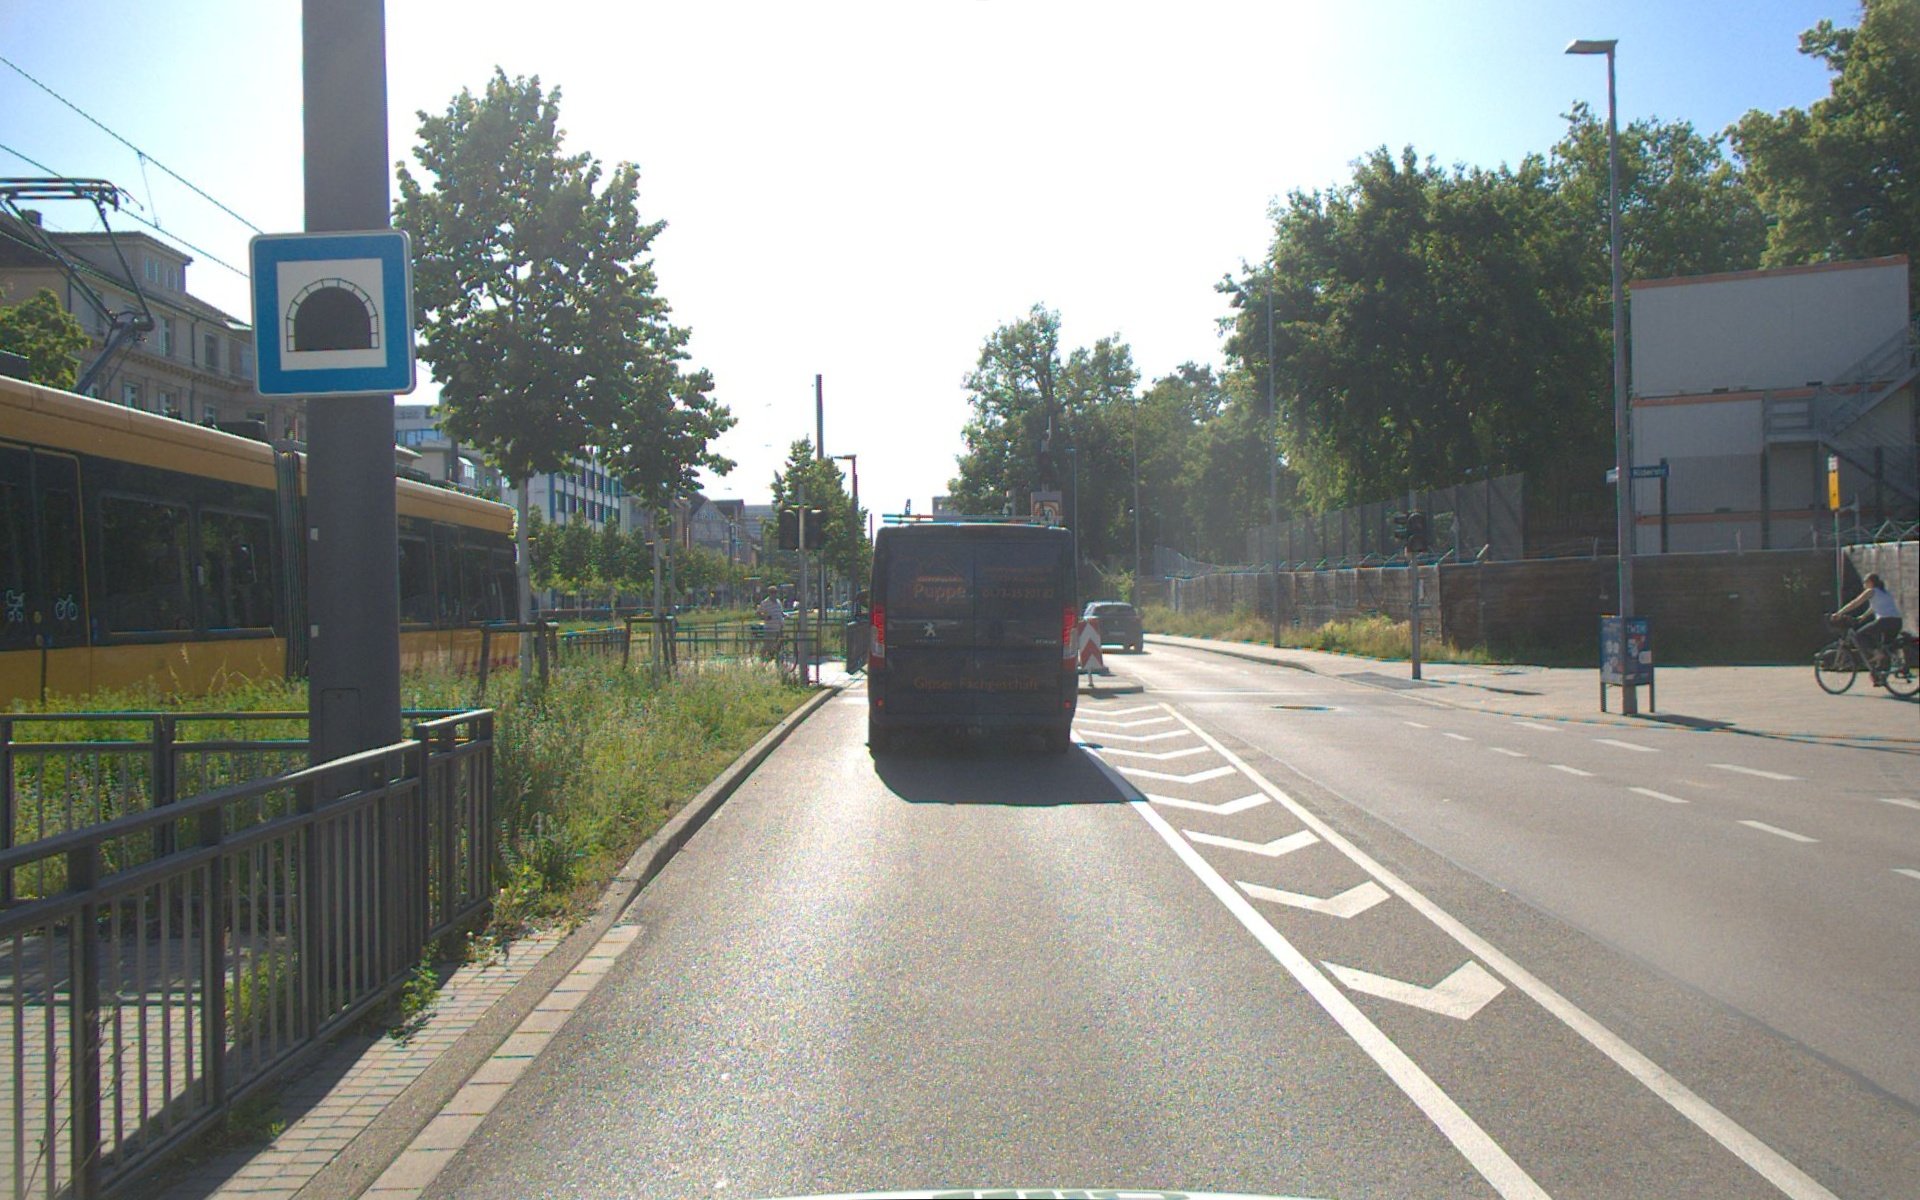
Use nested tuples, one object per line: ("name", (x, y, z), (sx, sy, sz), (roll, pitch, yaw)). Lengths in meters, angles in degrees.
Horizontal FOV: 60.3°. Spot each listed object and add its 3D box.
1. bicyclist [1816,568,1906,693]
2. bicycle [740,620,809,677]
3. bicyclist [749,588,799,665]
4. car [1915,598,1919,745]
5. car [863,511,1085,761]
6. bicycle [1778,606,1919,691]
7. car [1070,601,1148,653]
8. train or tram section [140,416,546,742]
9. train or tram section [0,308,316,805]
("bicyclist", (12.654, 0.428, 23.237), (0.736, 1.702, 0.840), (-1, -1, -39))
("bicycle", (-3.793, 0.974, 33.699), (0.724, 1.110, 2.064), (0, -1, -27))
("bicyclist", (-3.791, 0.538, 33.651), (0.816, 1.539, 0.723), (0, -1, -27))
("car", (11.071, 0.699, 15.202), (3.621, 1.461, 1.774), (0, -1, 15))
("car", (0.062, 0.339, 17.171), (2.040, 2.288, 3.998), (0, 0, -2))
("bicycle", (12.704, 0.680, 23.241), (0.598, 1.132, 2.095), (-2, -1, -38))
("car", (4.400, 0.789, 49.367), (1.728, 1.488, 3.997), (0, 0, -3))
("train or tram section", (-8.535, -0.206, 24.813), (1.953, 3.733, 11.680), (0, 0, -1))
("train or tram section", (-8.214, -0.316, 13.352), (1.953, 3.733, 11.311), (0, 0, -2))
